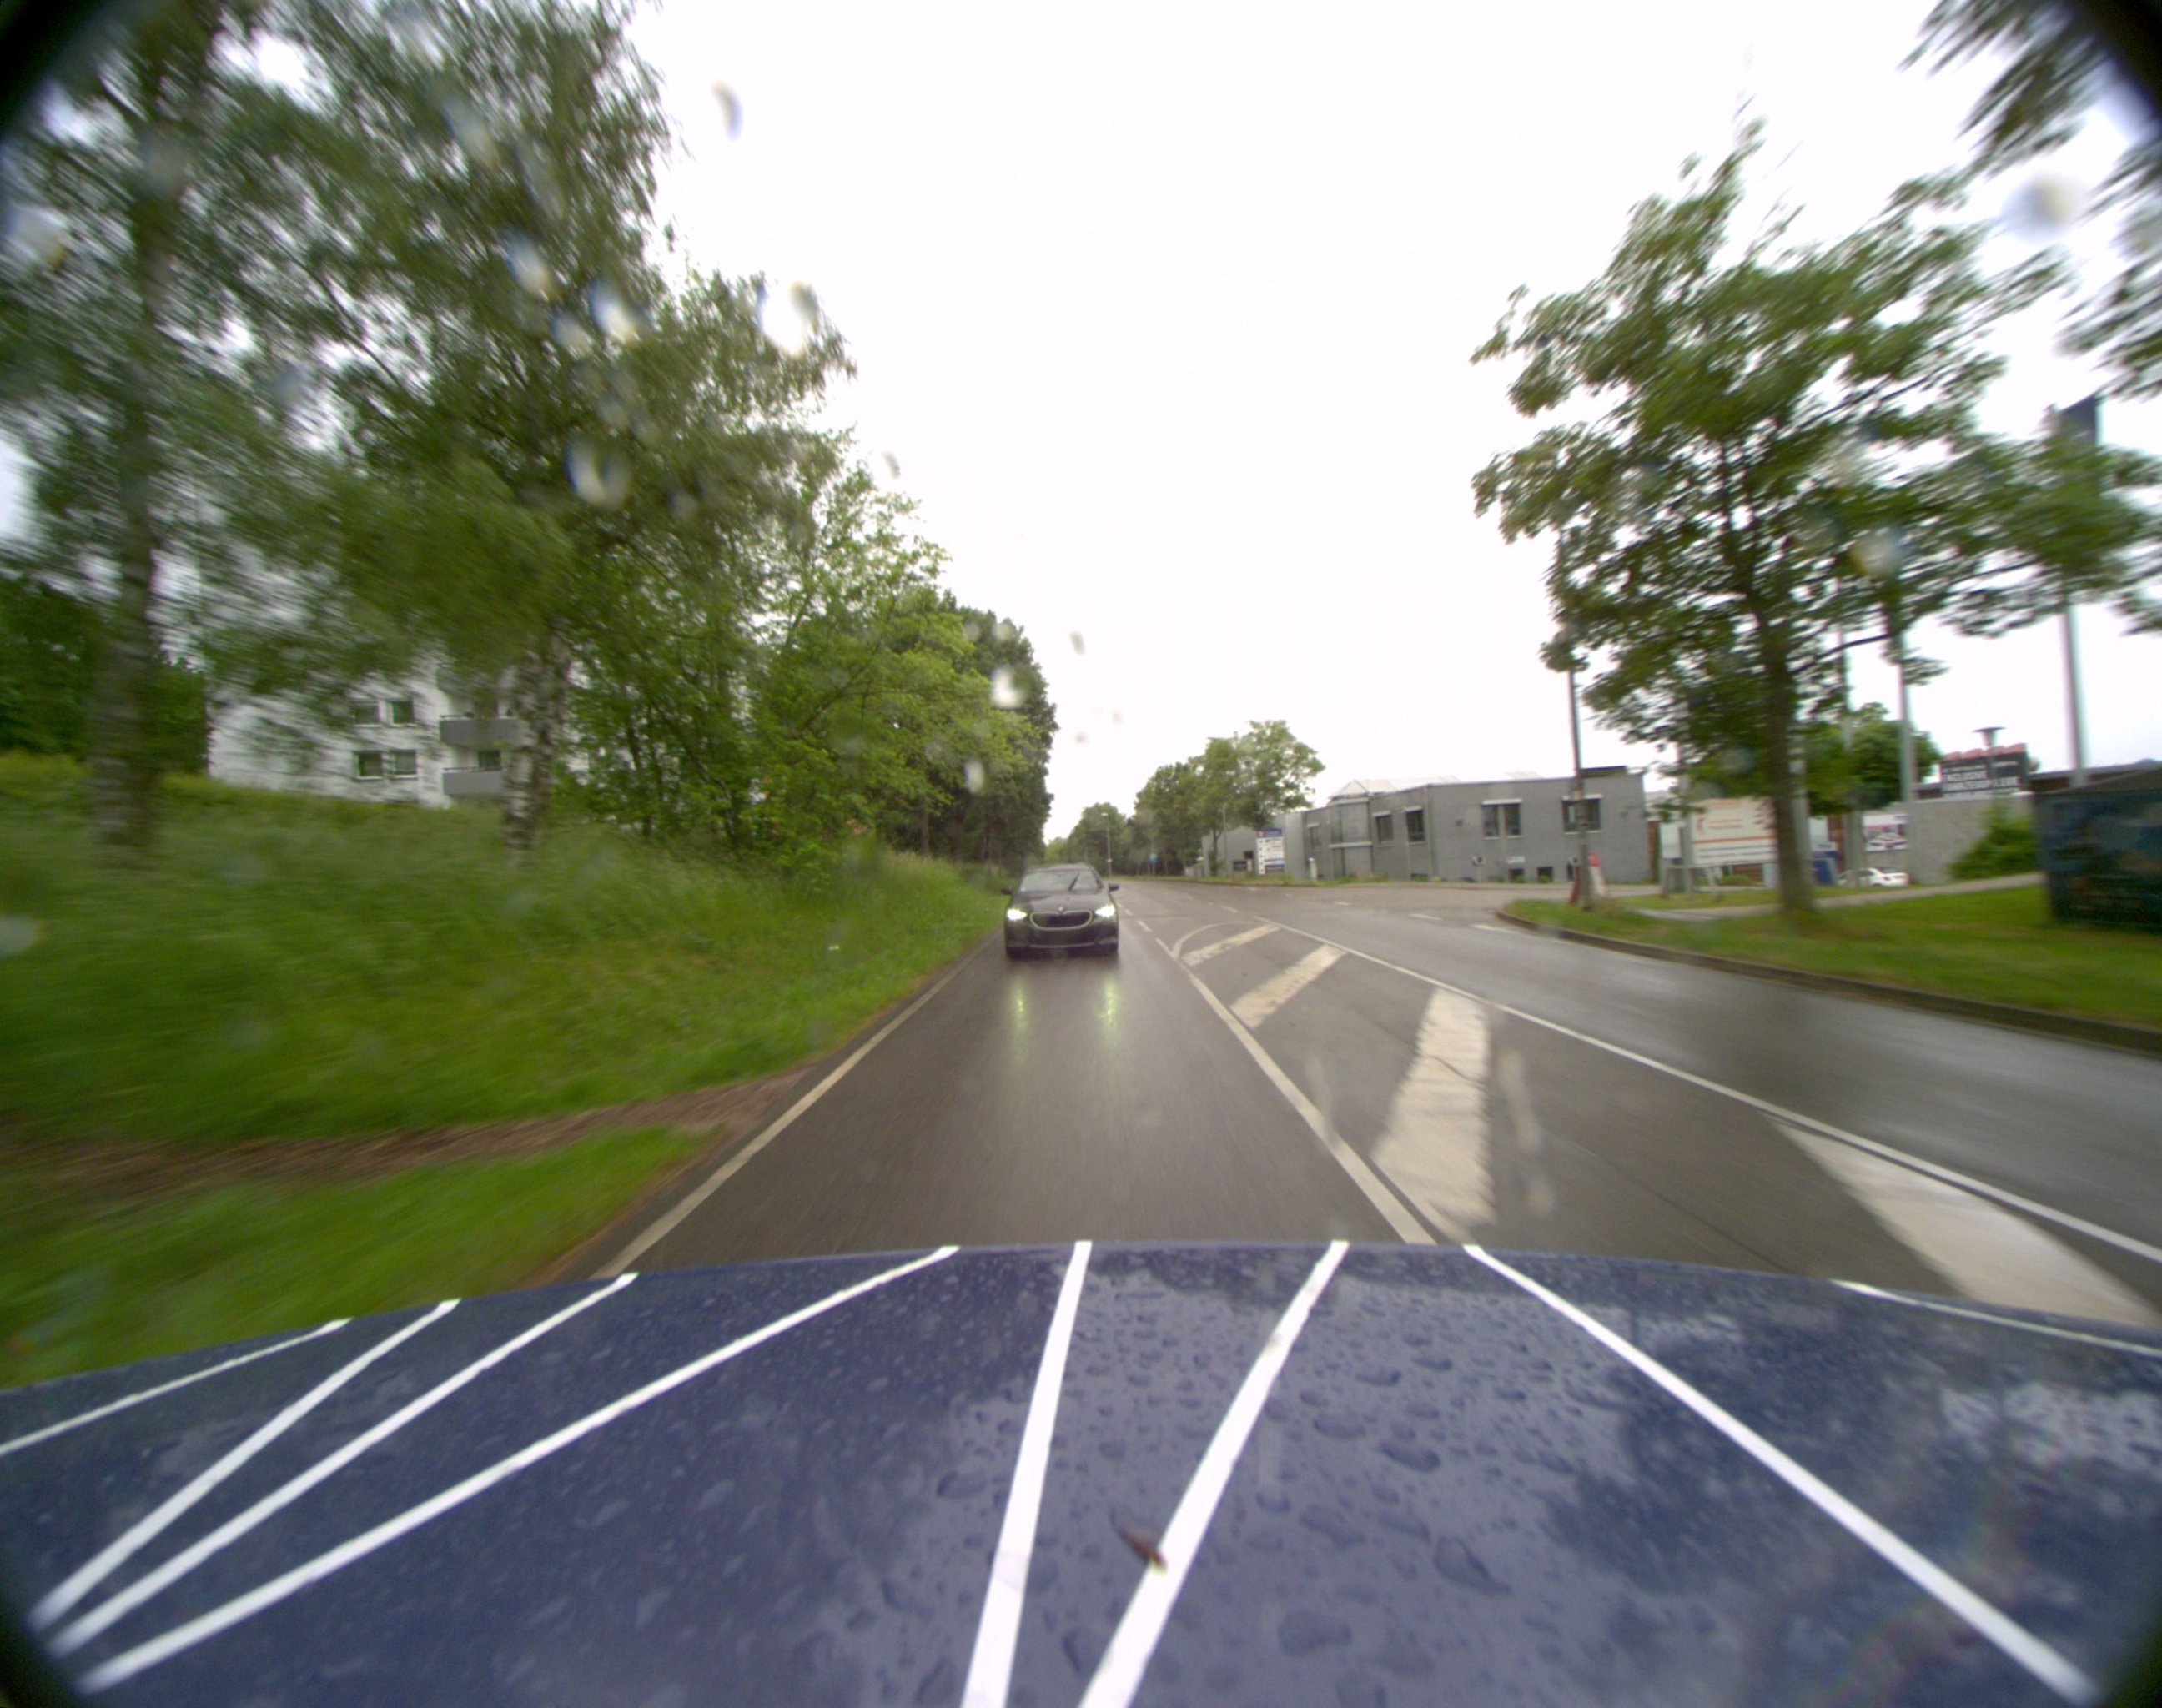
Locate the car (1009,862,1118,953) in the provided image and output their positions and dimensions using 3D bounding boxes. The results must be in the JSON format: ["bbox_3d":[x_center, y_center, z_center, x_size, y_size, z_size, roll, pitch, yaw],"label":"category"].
[{"bbox_3d":[-0.349,0.955,15.225,1.845,1.471,3.999,-2,0,-1],"label":"car"}]

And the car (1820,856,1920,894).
[{"bbox_3d":[40.365,1.117,38.974,1.507,1.542,3.205,-1,-9,-5],"label":"car"}]
